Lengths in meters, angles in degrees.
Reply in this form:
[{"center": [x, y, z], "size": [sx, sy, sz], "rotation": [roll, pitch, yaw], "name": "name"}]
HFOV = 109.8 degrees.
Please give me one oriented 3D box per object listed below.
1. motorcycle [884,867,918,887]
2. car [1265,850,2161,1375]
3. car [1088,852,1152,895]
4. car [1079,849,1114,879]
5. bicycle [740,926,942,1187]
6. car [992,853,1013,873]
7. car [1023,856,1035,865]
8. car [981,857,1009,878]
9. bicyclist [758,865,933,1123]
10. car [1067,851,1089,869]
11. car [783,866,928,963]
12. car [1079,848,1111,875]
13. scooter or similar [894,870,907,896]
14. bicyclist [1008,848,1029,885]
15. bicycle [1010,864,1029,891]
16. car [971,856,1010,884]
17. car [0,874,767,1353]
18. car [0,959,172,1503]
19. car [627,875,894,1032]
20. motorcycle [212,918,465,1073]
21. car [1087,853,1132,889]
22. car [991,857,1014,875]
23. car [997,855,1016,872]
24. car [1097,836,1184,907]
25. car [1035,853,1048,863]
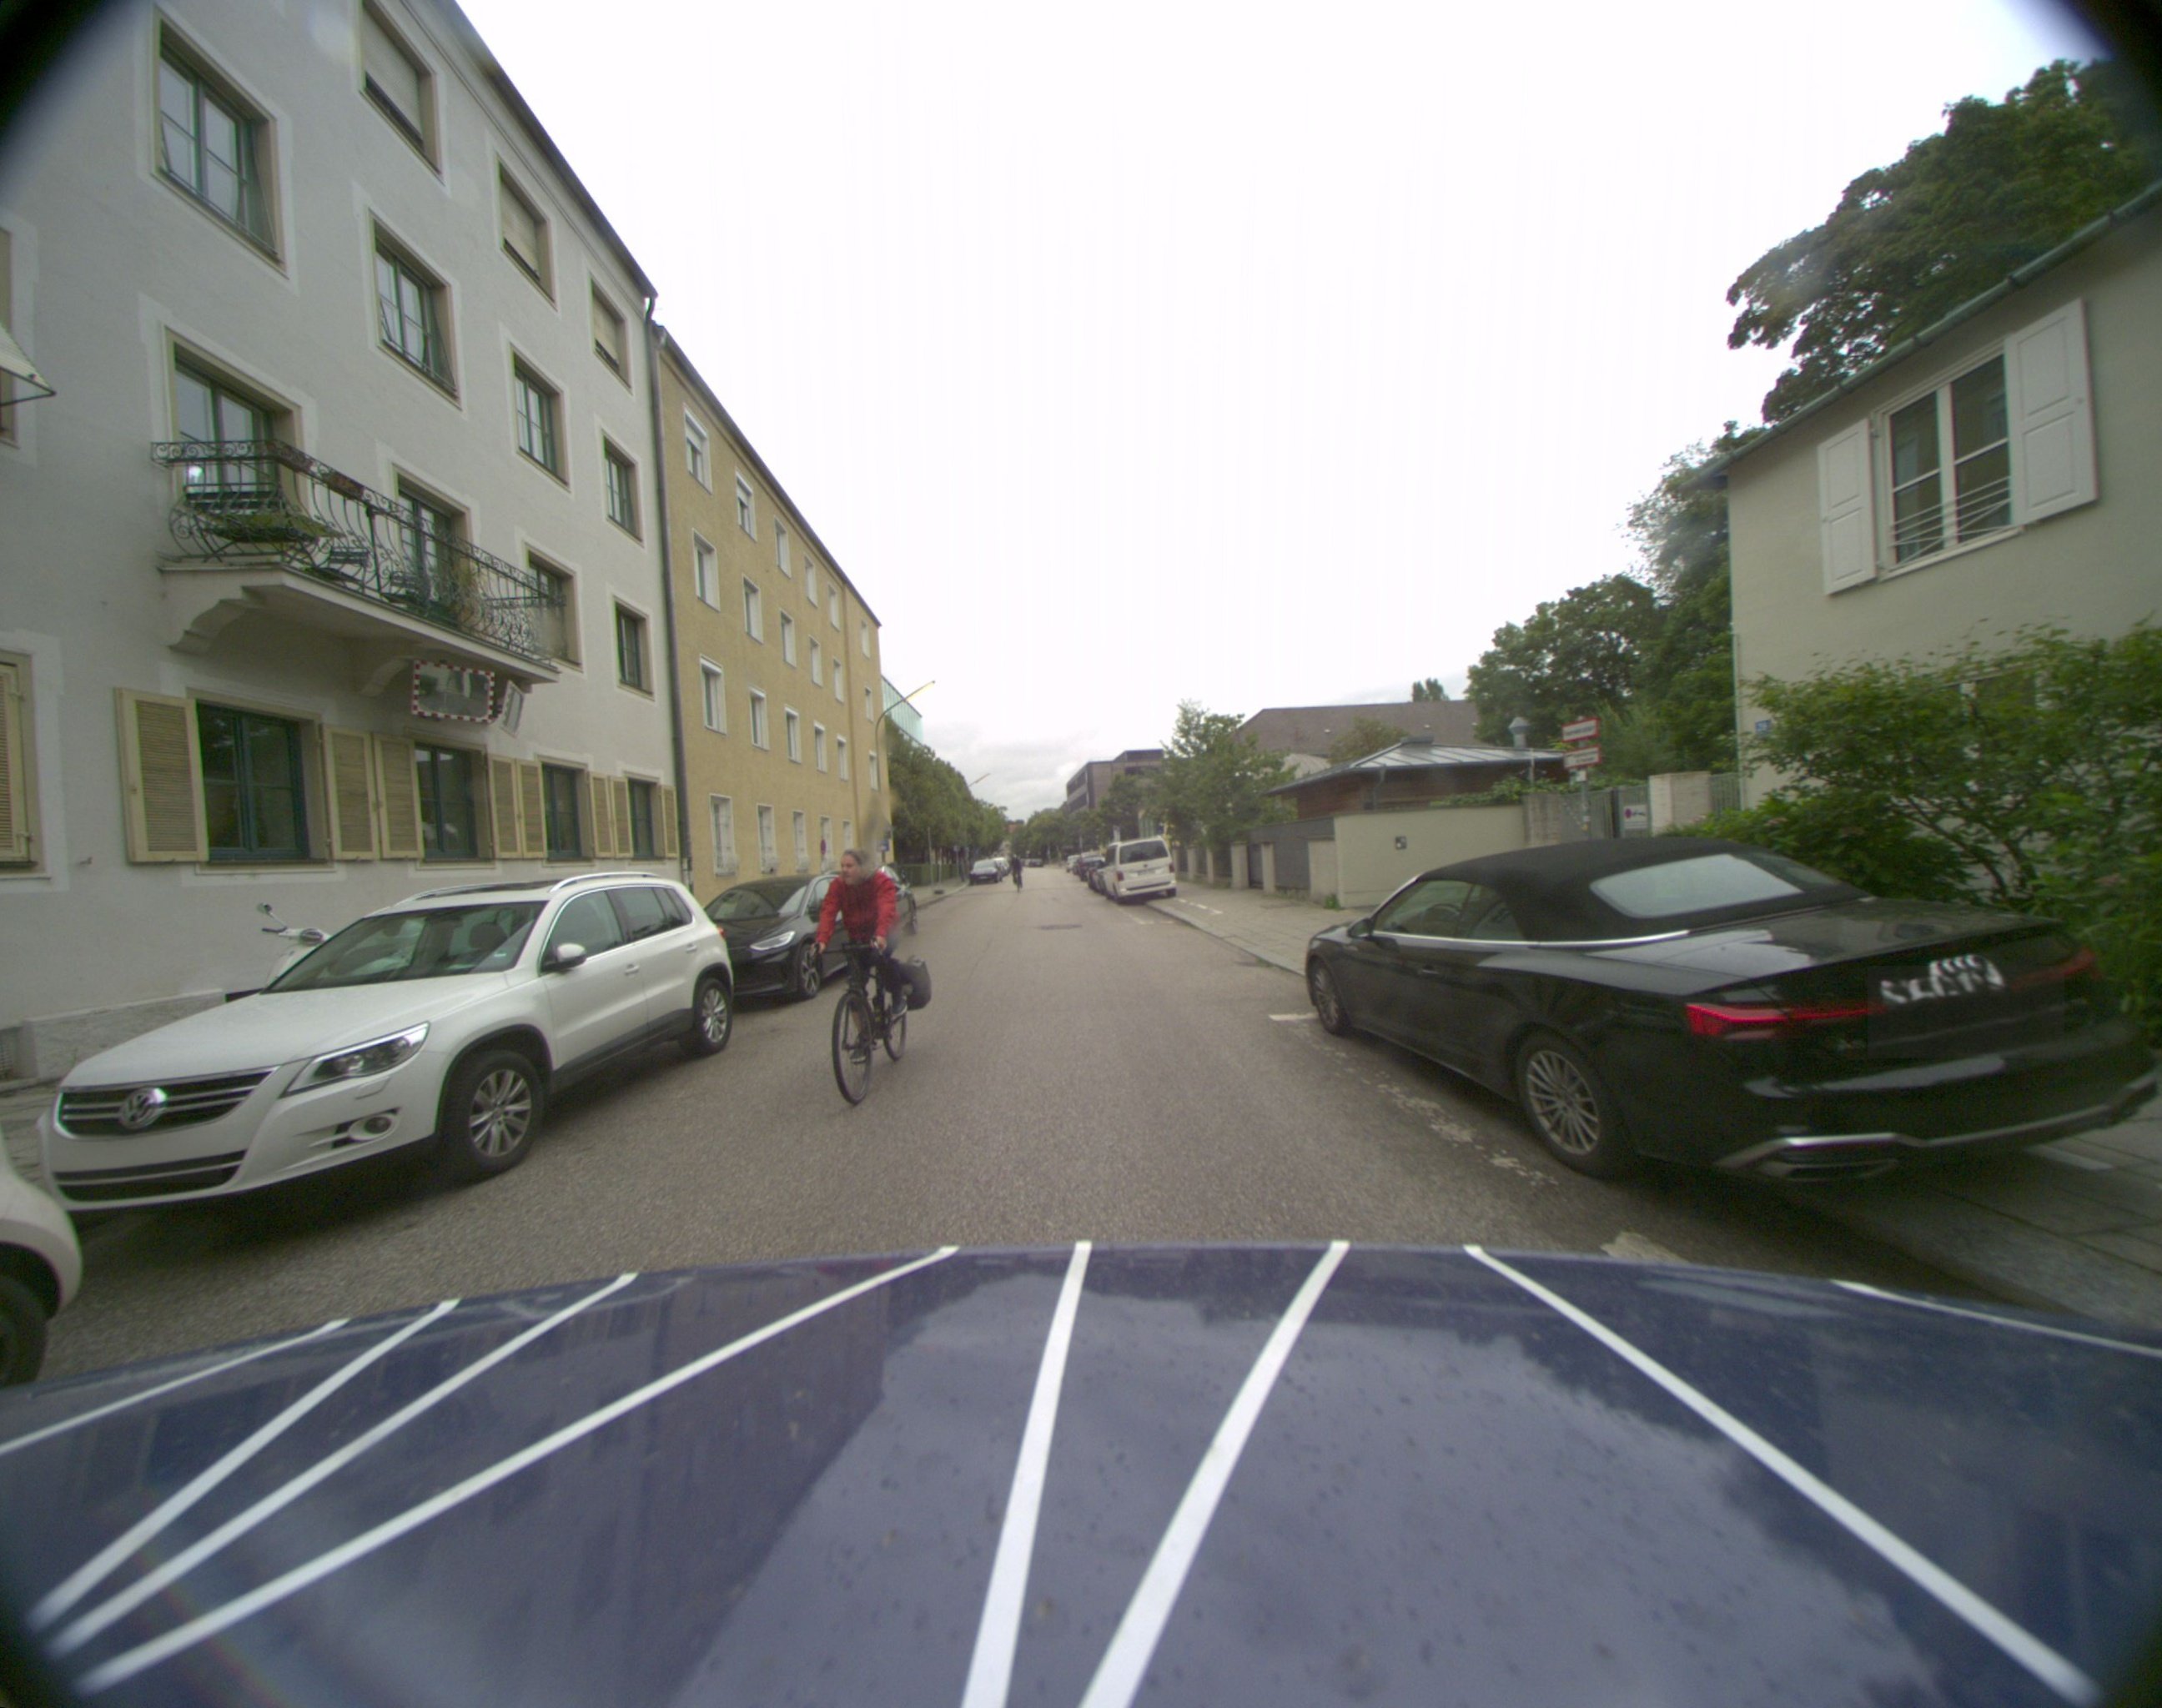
[{"center": [-11.225, 1.433, 47.380], "size": [1.899, 1.126, 0.708], "rotation": [-1, 1, -2], "name": "motorcycle"}, {"center": [2.882, 0.761, 4.757], "size": [1.812, 1.394, 4.922], "rotation": [-5, 1, -5], "name": "car"}, {"center": [1.539, 0.748, 31.470], "size": [1.893, 1.535, 4.693], "rotation": [-4, 0, -5], "name": "car"}, {"center": [0.920, 0.577, 47.416], "size": [1.850, 1.598, 4.741], "rotation": [-5, 1, -1], "name": "car"}, {"center": [-1.465, 1.182, 5.074], "size": [0.674, 1.135, 2.010], "rotation": [-5, 1, -2], "name": "bicycle"}, {"center": [-8.149, 0.908, 79.354], "size": [1.789, 1.884, 4.572], "rotation": [-5, 1, -3], "name": "car"}, {"center": [-10.739, 1.320, 156.707], "size": [2.000, 1.510, 3.997], "rotation": [-5, 1, -7], "name": "car"}, {"center": [-6.987, 1.099, 62.169], "size": [1.999, 1.451, 4.954], "rotation": [-5, 1, -5], "name": "car"}, {"center": [-1.513, 0.854, 5.077], "size": [0.756, 1.474, 0.981], "rotation": [-5, 1, -2], "name": "bicyclist"}, {"center": [-0.314, 0.564, 72.019], "size": [1.729, 1.483, 4.460], "rotation": [-5, 1, -3], "name": "car"}, {"center": [-4.538, 1.118, 16.099], "size": [1.865, 1.568, 4.897], "rotation": [-3, 0, -4], "name": "car"}, {"center": [0.945, 0.505, 54.335], "size": [1.907, 1.682, 4.807], "rotation": [-5, 1, -1], "name": "car"}, {"center": [-9.110, 1.441, 38.309], "size": [0.343, 1.248, 1.309], "rotation": [-2, 1, -3], "name": "scooter or similar"}, {"center": [-2.996, 0.605, 36.546], "size": [0.780, 1.657, 1.034], "rotation": [-5, 0, -1], "name": "bicyclist"}, {"center": [-2.958, 1.131, 36.575], "size": [0.720, 1.199, 1.801], "rotation": [-5, 0, -2], "name": "bicycle"}, {"center": [-6.233, 1.045, 52.660], "size": [1.999, 1.621, 5.098], "rotation": [-5, 1, -1], "name": "car"}, {"center": [-4.186, 1.149, 5.367], "size": [1.999, 1.697, 4.533], "rotation": [-6, 0, -2], "name": "car"}, {"center": [-4.126, 1.258, 0.747], "size": [1.775, 1.537, 3.711], "rotation": [-8, 0, 0], "name": "car"}, {"center": [-4.111, 1.165, 10.674], "size": [1.843, 1.522, 4.415], "rotation": [-3, 0, -1], "name": "car"}, {"center": [-7.937, 1.443, 8.295], "size": [0.734, 1.232, 2.007], "rotation": [-5, 1, -3], "name": "motorcycle"}, {"center": [1.304, 0.764, 36.554], "size": [1.864, 1.535, 4.187], "rotation": [-2, 0, -1], "name": "car"}, {"center": [-7.565, 1.135, 73.502], "size": [1.952, 1.543, 5.003], "rotation": [-5, 1, -4], "name": "car"}, {"center": [-8.379, 1.013, 85.387], "size": [1.873, 1.682, 4.782], "rotation": [-5, 1, -4], "name": "car"}, {"center": [1.849, 0.522, 25.503], "size": [1.972, 1.979, 5.149], "rotation": [-5, 1, -5], "name": "car"}, {"center": [-6.650, 0.672, 127.511], "size": [1.930, 1.390, 4.484], "rotation": [-4, 0, -7], "name": "car"}]
